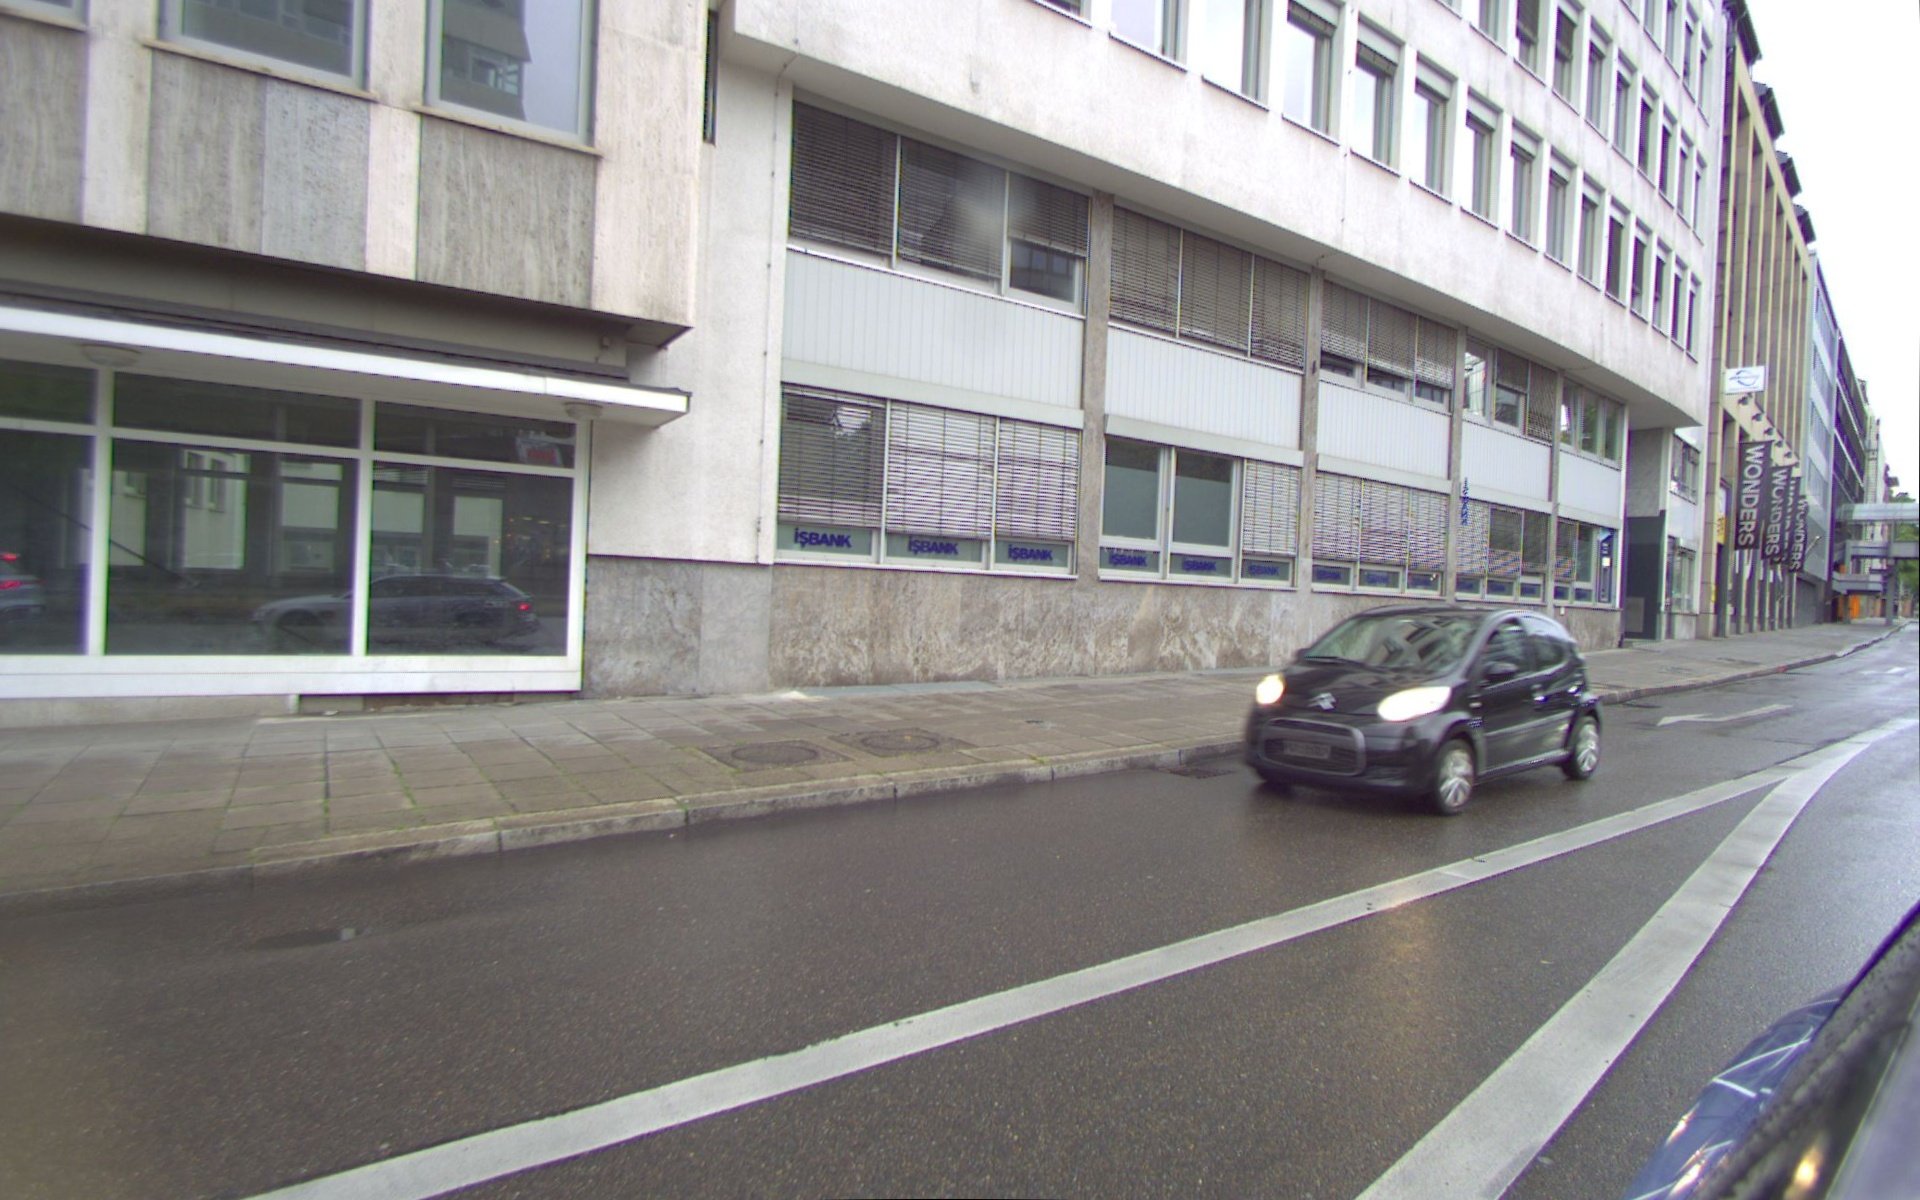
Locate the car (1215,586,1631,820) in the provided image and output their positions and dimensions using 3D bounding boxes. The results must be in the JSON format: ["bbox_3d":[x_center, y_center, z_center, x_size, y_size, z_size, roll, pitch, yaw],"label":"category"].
[{"bbox_3d":[3.835,0.665,8.208,3.419,1.491,1.667,1,0,-38],"label":"car"}]
